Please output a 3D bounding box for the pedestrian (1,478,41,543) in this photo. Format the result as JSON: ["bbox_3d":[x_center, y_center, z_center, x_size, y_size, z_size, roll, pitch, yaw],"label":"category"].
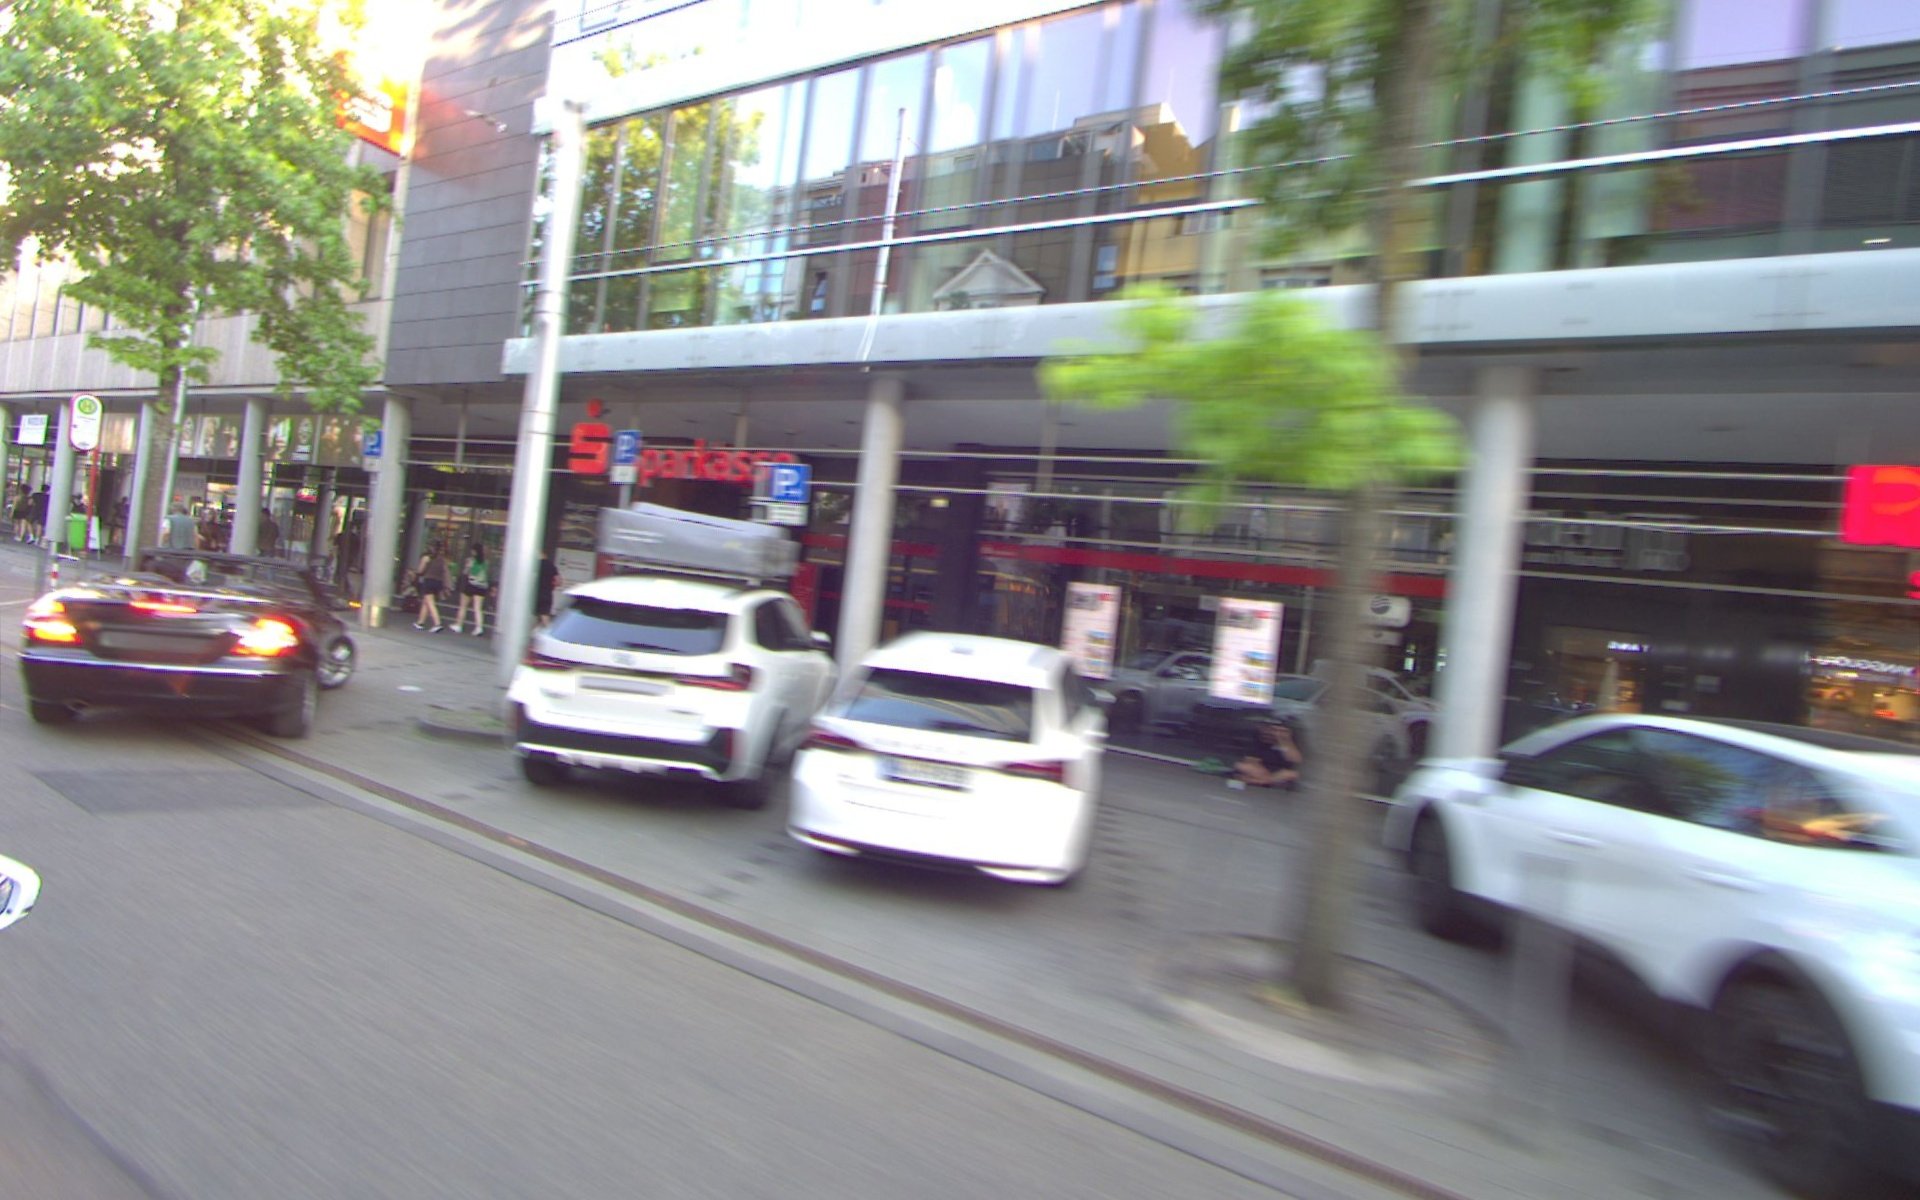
[{"bbox_3d":[-28.557,-2.720,30.597,0.815,1.863,0.596,8,2,32],"label":"pedestrian"}]

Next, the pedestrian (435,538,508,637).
[{"bbox_3d":[-8.781,-0.223,18.070,1.004,1.637,0.596,8,2,32],"label":"pedestrian"}]

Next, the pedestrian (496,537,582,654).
[{"bbox_3d":[-6.994,-0.062,16.723,0.743,1.805,0.878,8,2,31],"label":"pedestrian"}]

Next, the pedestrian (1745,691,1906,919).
[{"bbox_3d":[7.281,1.685,8.510,0.792,1.719,0.663,6,-1,31],"label":"pedestrian"}]

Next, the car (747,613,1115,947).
[{"bbox_3d":[0.133,0.965,7.406,1.828,1.477,4.184,6,1,9],"label":"car"}]

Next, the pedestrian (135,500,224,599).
[{"bbox_3d":[-14.006,-0.896,18.059,0.743,1.599,0.879,8,-1,31],"label":"pedestrian"}]

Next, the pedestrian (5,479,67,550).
[{"bbox_3d":[-27.400,-2.517,29.841,0.913,1.901,1.054,8,2,32],"label":"pedestrian"}]

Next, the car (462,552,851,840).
[{"bbox_3d":[-2.205,0.592,8.632,1.885,1.659,4.204,7,1,0],"label":"car"}]

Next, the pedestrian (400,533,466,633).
[{"bbox_3d":[-9.200,-0.295,17.560,0.743,1.637,0.596,8,2,31],"label":"pedestrian"}]

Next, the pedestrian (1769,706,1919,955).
[{"bbox_3d":[6.965,1.739,7.845,0.792,1.719,0.681,6,-1,31],"label":"pedestrian"}]

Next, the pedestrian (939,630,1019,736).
[{"bbox_3d":[0.259,1.106,13.488,0.721,1.306,0.634,6,0,34],"label":"pedestrian"}]

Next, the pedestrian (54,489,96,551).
[{"bbox_3d":[-25.581,-2.309,29.073,0.815,1.637,0.596,8,2,32],"label":"pedestrian"}]

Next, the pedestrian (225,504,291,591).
[{"bbox_3d":[-16.479,-1.230,23.621,0.928,1.859,0.833,8,1,32],"label":"pedestrian"}]

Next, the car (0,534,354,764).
[{"bbox_3d":[-6.406,0.262,8.628,1.788,1.364,4.412,8,-1,-29],"label":"car"}]

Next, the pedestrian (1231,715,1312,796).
[{"bbox_3d":[3.529,1.741,11.398,0.654,0.791,0.607,6,-1,34],"label":"pedestrian"}]

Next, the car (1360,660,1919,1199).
[{"bbox_3d":[3.792,1.338,4.827,1.842,1.583,4.341,6,1,0],"label":"car"}]

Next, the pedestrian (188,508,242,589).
[{"bbox_3d":[-16.117,-1.102,21.767,0.743,1.637,0.596,8,2,32],"label":"pedestrian"}]

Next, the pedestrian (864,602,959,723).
[{"bbox_3d":[-0.676,0.862,13.970,0.957,1.545,0.660,6,0,34],"label":"pedestrian"}]
